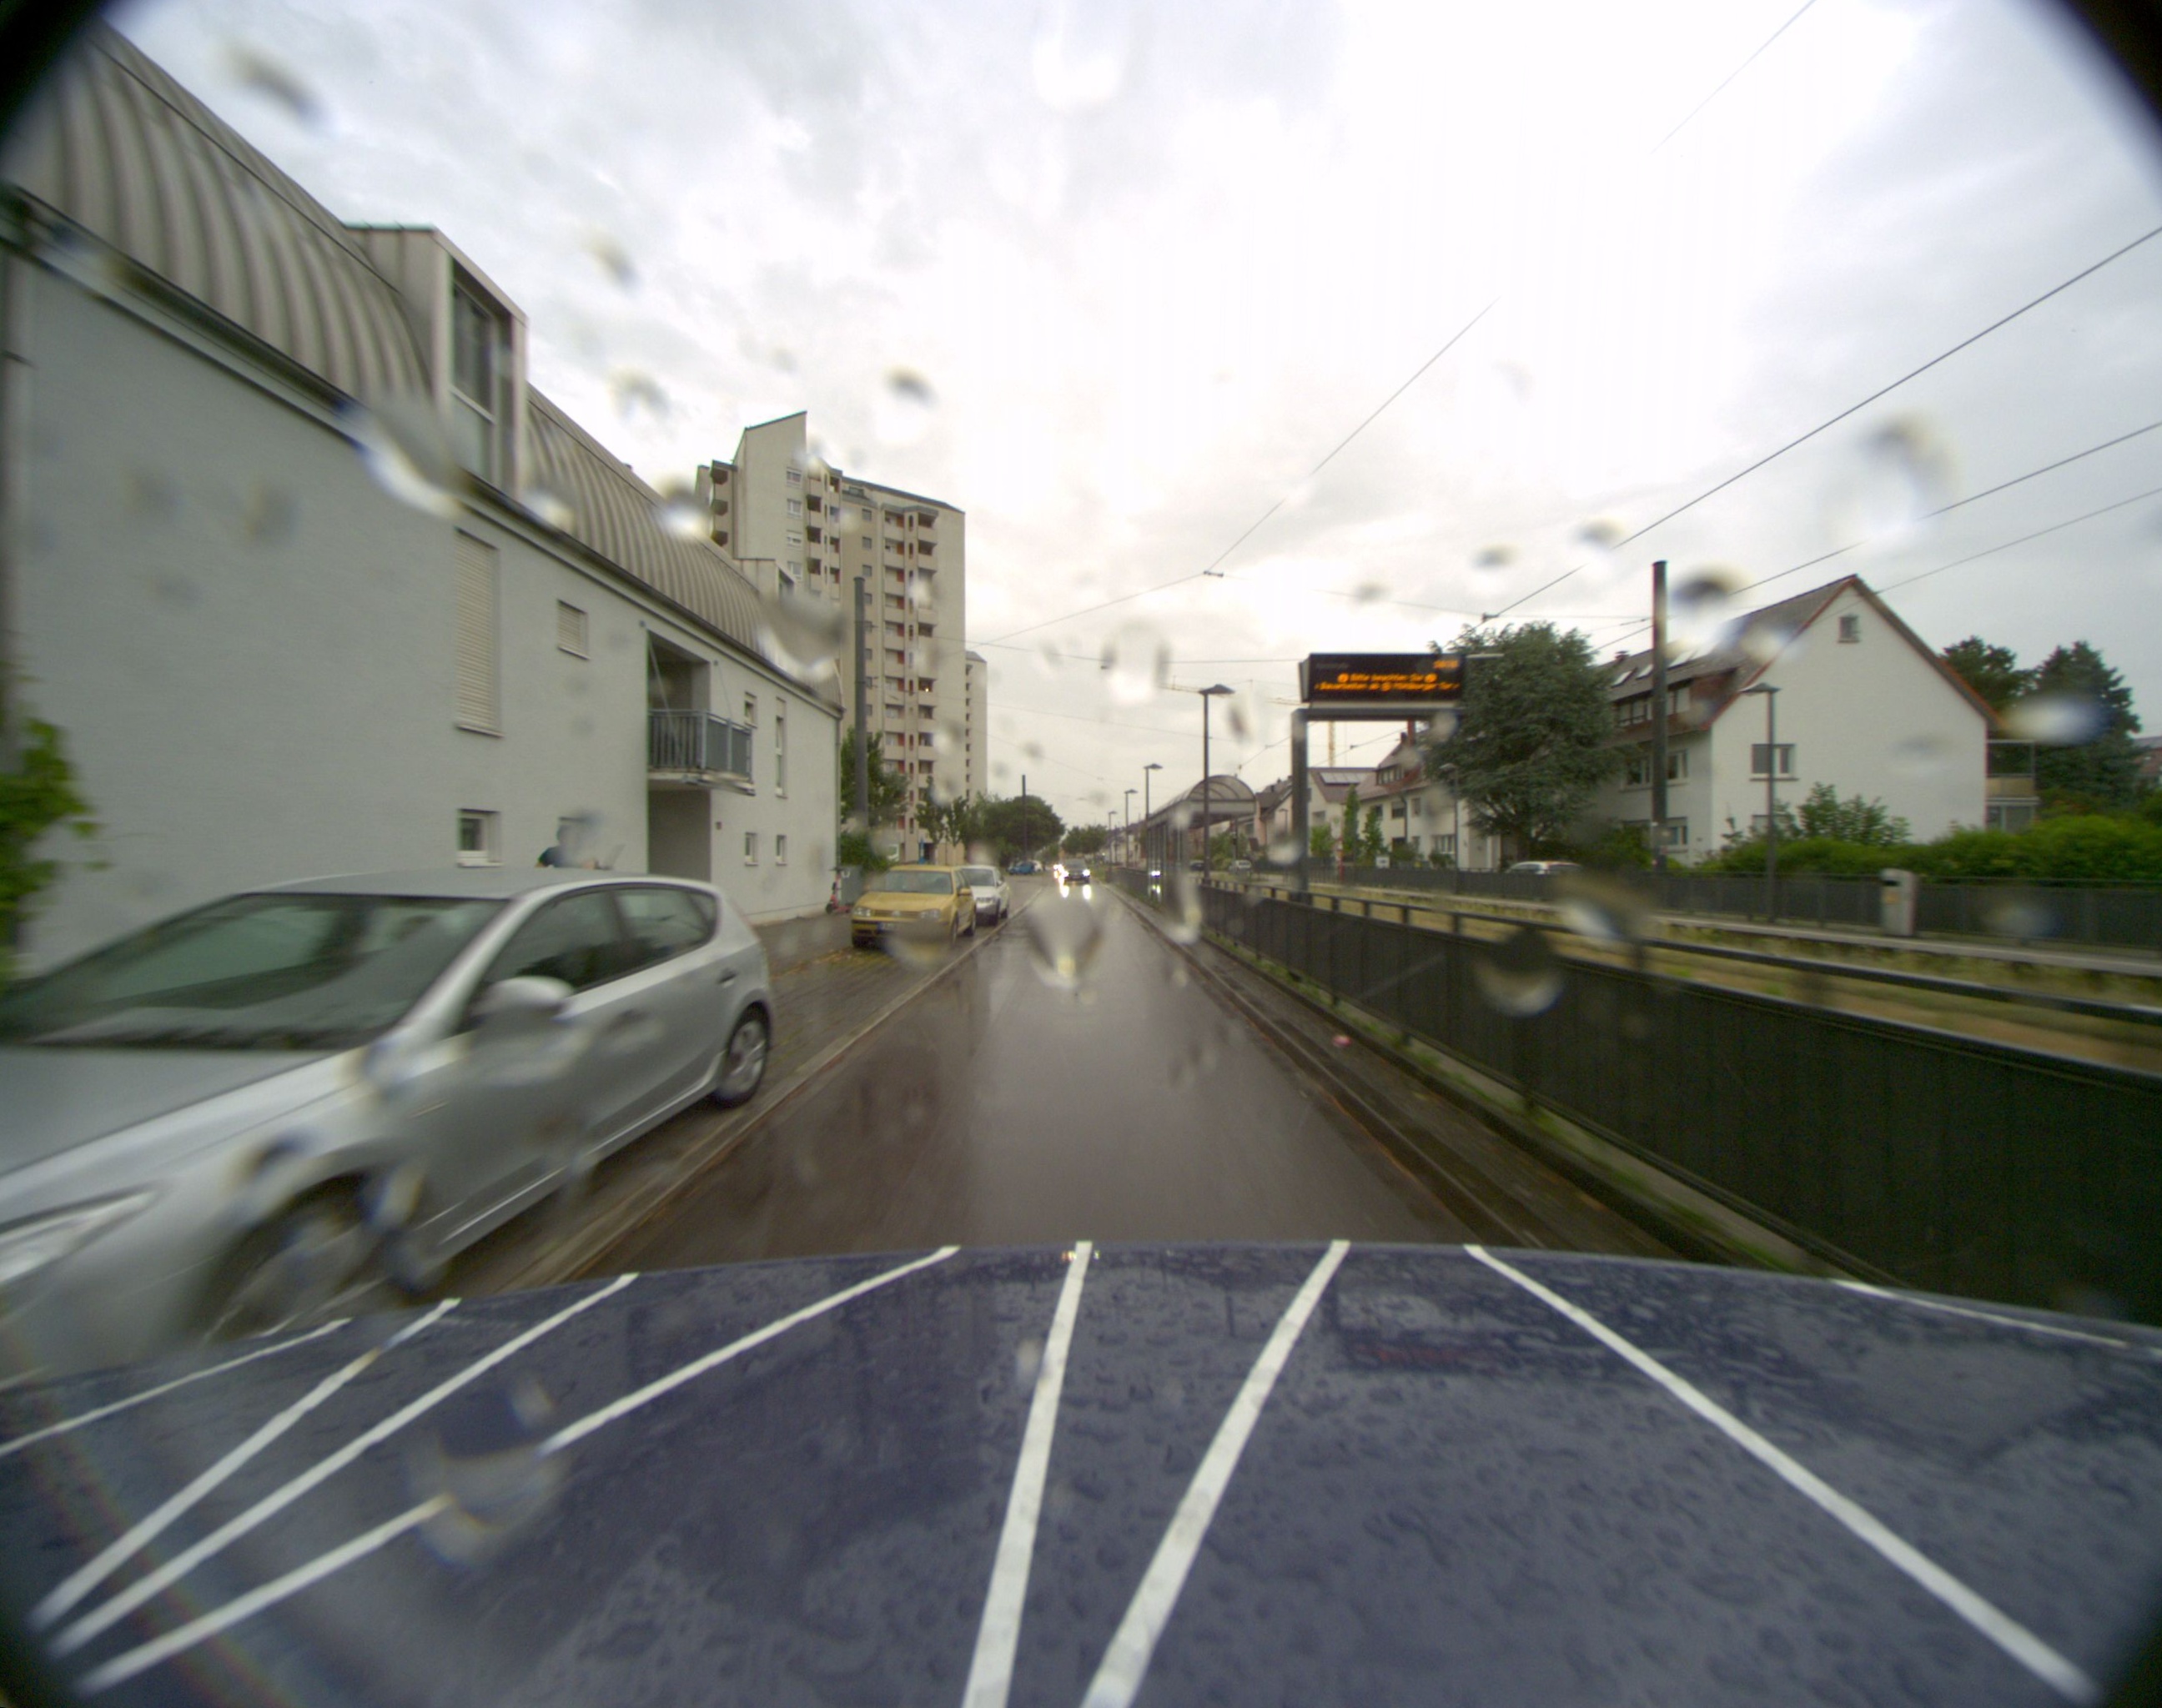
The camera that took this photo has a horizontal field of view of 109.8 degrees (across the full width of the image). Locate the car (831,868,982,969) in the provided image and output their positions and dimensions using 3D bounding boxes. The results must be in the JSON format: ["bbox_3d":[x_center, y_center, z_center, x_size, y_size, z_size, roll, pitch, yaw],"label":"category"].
[{"bbox_3d":[-3.010,1.059,13.930,1.811,1.397,3.793,3,1,0],"label":"car"}]

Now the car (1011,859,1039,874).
[{"bbox_3d":[-5.886,1.325,79.860,2.570,1.539,1.598,0,0,-42],"label":"car"}]

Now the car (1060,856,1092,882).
[{"bbox_3d":[-0.372,0.959,51.584,1.999,1.611,3.998,-1,1,-3],"label":"car"}]

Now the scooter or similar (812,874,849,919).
[{"bbox_3d":[-6.469,1.079,19.658,0.334,1.078,1.396,-1,1,5],"label":"scooter or similar"}]

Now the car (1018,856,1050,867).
[{"bbox_3d":[-6.830,1.137,110.466,4.470,1.419,1.680,3,-2,-36],"label":"car"}]

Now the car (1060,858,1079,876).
[{"bbox_3d":[-1.235,1.316,80.496,1.999,1.761,3.999,-1,1,-1],"label":"car"}]

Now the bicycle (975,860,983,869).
[{"bbox_3d":[-11.315,1.152,84.638,0.663,1.000,2.058,-1,1,-1],"label":"bicycle"}]

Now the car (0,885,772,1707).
[{"bbox_3d":[-2.939,0.990,2.998,1.811,1.459,3.793,3,1,0],"label":"car"}]

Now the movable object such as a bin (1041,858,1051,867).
[{"bbox_3d":[-5.891,1.385,126.793,1.165,1.553,1.372,-2,1,-25],"label":"movable object such as a bin"}]

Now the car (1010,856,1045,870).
[{"bbox_3d":[-7.268,1.248,103.997,4.471,1.661,1.808,3,-2,-40],"label":"car"}]

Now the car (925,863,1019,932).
[{"bbox_3d":[-2.675,1.032,19.672,1.654,1.397,4.649,3,1,0],"label":"car"}]

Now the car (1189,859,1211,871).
[{"bbox_3d":[14.896,1.383,95.271,1.842,1.418,4.174,-1,-1,-3],"label":"car"}]

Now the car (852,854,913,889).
[{"bbox_3d":[-10.910,0.952,42.081,1.968,1.773,4.898,-1,-1,1],"label":"car"}]

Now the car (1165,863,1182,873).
[{"bbox_3d":[14.167,2.168,116.306,1.999,1.365,3.842,-1,1,-3],"label":"car"}]

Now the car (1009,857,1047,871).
[{"bbox_3d":[-6.183,1.201,89.298,4.196,1.538,1.760,3,-2,-42],"label":"car"}]

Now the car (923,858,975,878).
[{"bbox_3d":[-11.533,1.249,66.414,4.119,1.607,1.811,-2,-1,-32],"label":"car"}]

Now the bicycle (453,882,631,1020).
[{"bbox_3d":[-5.191,0.865,7.482,0.538,1.087,1.947,-1,1,-7],"label":"bicycle"}]

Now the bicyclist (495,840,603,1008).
[{"bbox_3d":[-5.193,0.645,7.459,0.535,1.550,0.772,-1,1,-8],"label":"bicyclist"}]

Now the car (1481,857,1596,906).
[{"bbox_3d":[15.790,0.885,26.460,1.637,1.485,4.000,-1,1,1],"label":"car"}]
